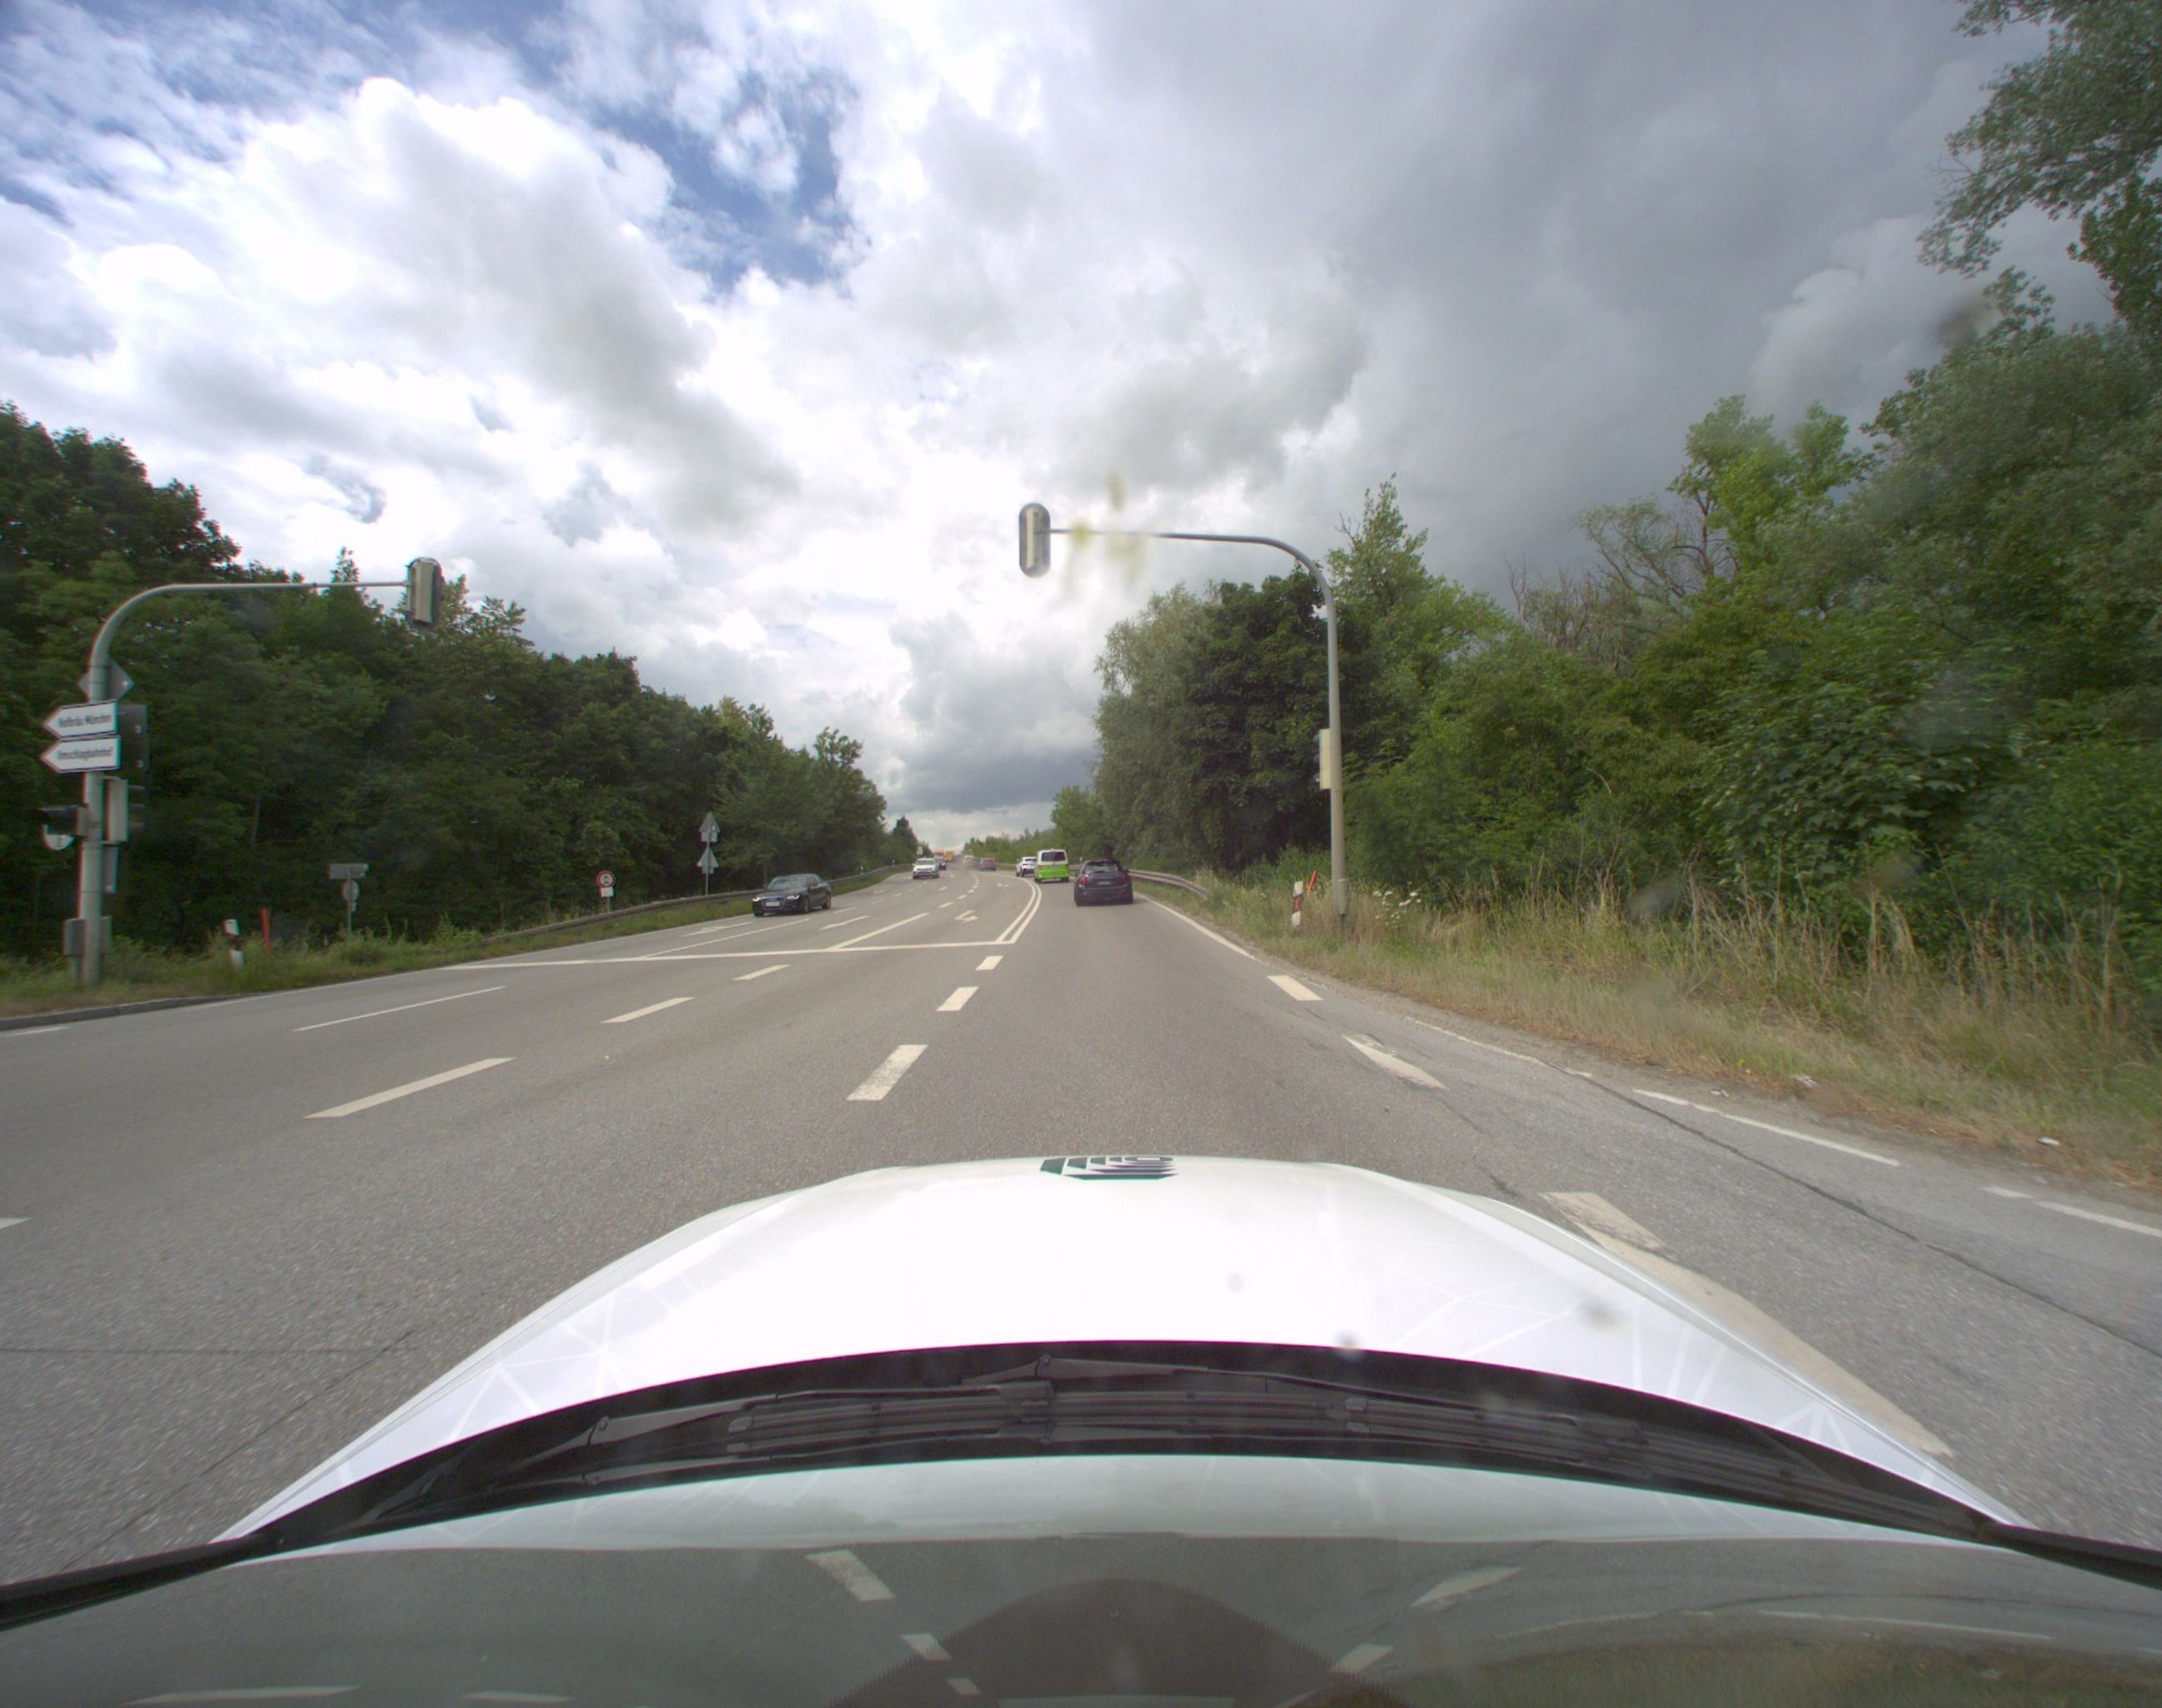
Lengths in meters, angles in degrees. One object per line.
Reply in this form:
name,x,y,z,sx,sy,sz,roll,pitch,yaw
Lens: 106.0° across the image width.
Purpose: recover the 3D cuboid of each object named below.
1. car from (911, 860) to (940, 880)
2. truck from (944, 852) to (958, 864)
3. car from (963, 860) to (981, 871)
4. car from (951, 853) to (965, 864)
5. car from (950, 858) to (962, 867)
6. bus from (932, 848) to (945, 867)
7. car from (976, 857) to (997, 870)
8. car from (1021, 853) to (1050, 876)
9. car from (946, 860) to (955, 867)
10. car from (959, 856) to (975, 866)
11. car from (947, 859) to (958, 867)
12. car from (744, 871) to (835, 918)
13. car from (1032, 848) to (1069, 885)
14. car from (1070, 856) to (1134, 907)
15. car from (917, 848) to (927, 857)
car,-13.032,1.300,68.423,1.991,1.613,3.991,-1,0,-6
truck,-34.124,1.110,213.395,2.711,2.898,8.756,0,-3,-4
car,-14.462,1.533,107.955,1.996,1.476,4.463,0,-1,-14
car,-20.978,0.795,139.027,1.996,1.696,4.464,0,-2,-14
car,-24.601,1.767,160.255,1.995,1.696,4.466,0,-1,-12
bus,-26.117,0.682,149.322,1.996,3.302,7.395,-1,0,-13
car,-10.890,1.095,93.477,1.995,1.476,4.466,0,-1,-12
car,-3.645,0.847,64.372,1.992,1.684,3.990,-1,-1,-7
car,-31.838,2.347,199.047,1.994,1.787,4.468,-1,-1,-11
car,-17.122,1.085,121.946,1.995,1.476,4.466,0,-1,-12
car,-28.520,2.097,180.171,1.996,1.696,4.463,0,-2,-14
car,-10.372,1.388,29.313,1.733,1.406,4.249,-3,0,-1
car,-1.872,0.684,48.962,1.843,1.986,3.832,-1,2,-8
car,0.720,0.811,26.128,1.837,1.428,3.844,-2,0,3
car,-35.715,-0.244,182.467,1.993,2.013,3.988,-1,0,-9
